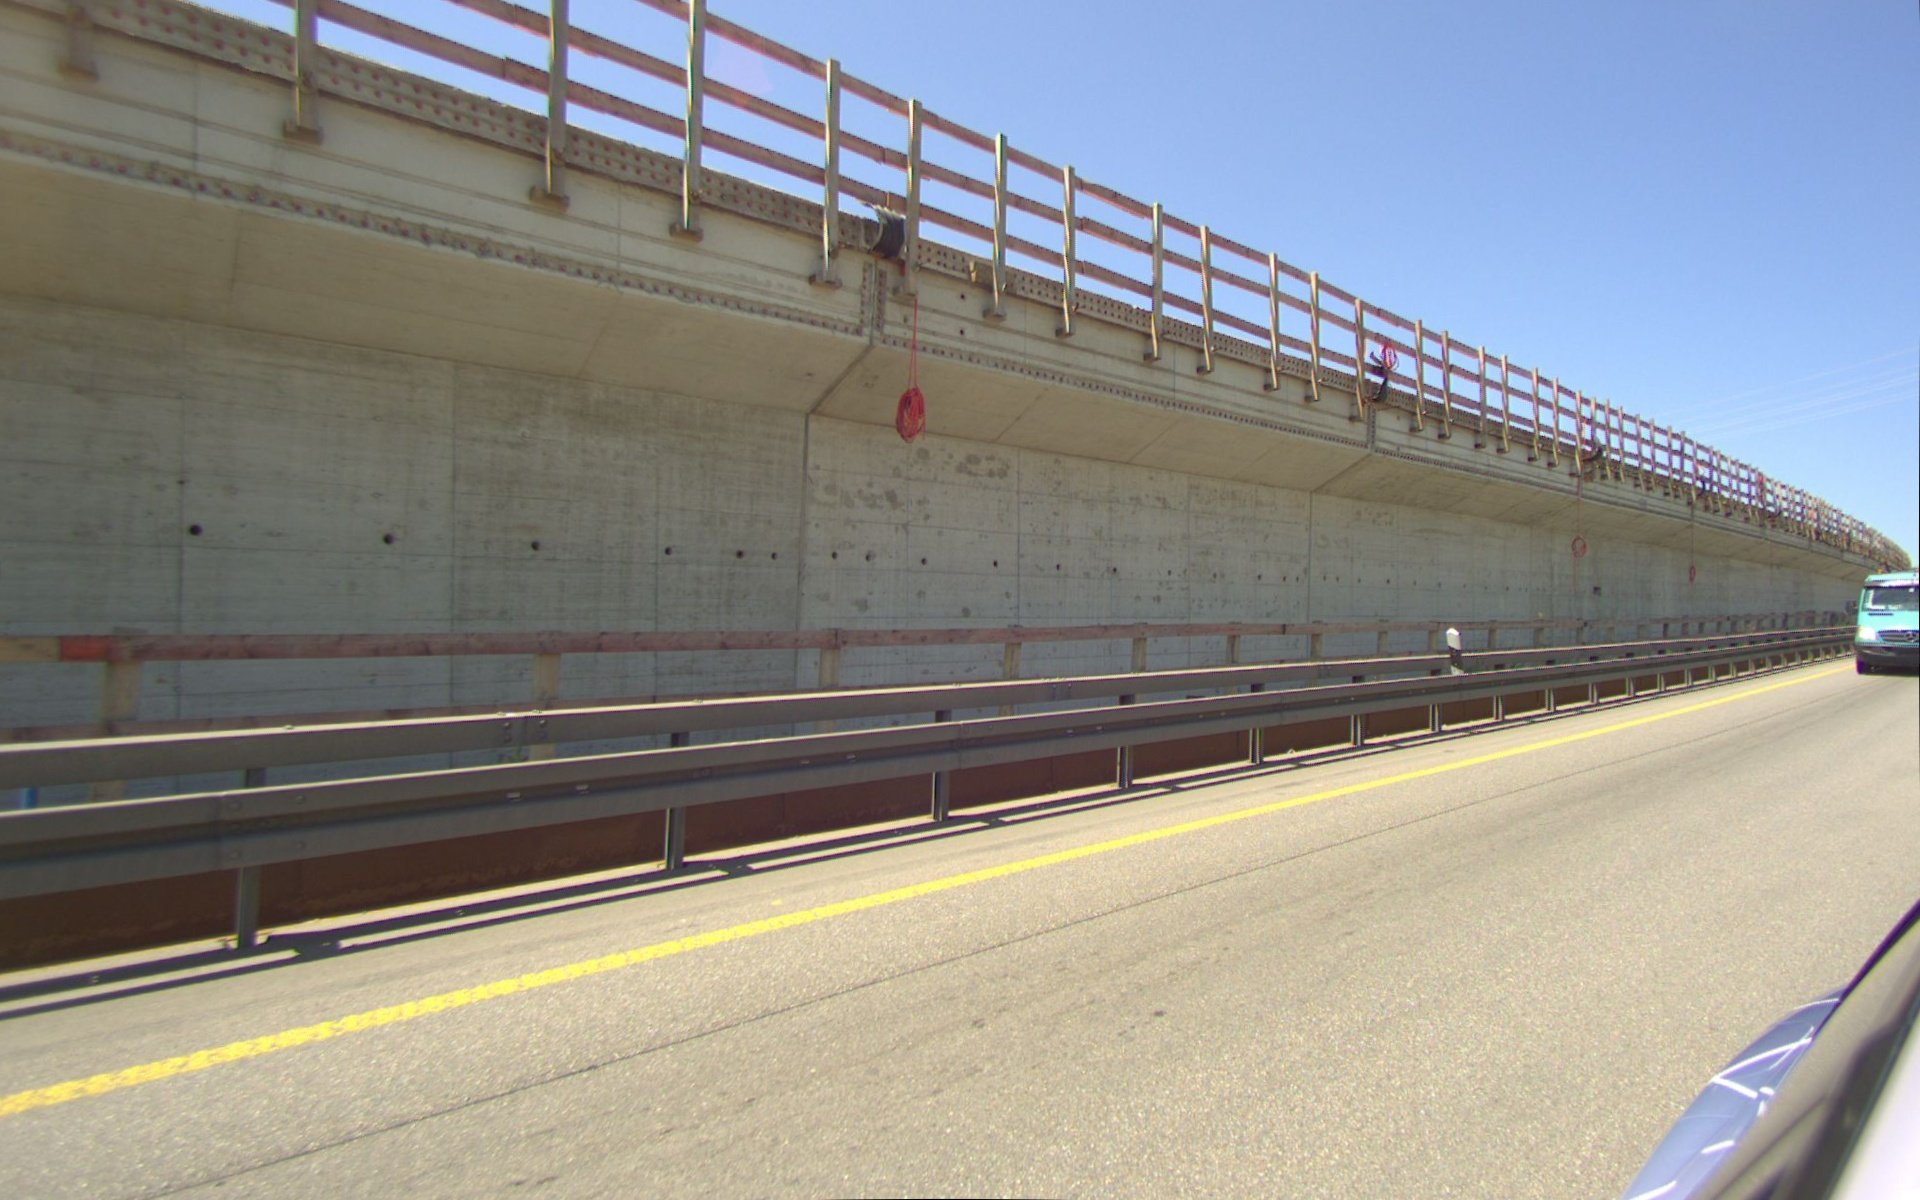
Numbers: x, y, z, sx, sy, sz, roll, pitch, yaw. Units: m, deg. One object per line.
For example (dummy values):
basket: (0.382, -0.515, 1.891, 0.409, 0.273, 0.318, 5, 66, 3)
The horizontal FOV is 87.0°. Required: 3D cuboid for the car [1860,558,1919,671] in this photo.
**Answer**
car: (23.189, 0.297, 23.934, 7.086, 2.411, 1.966, 0, -2, -42)
